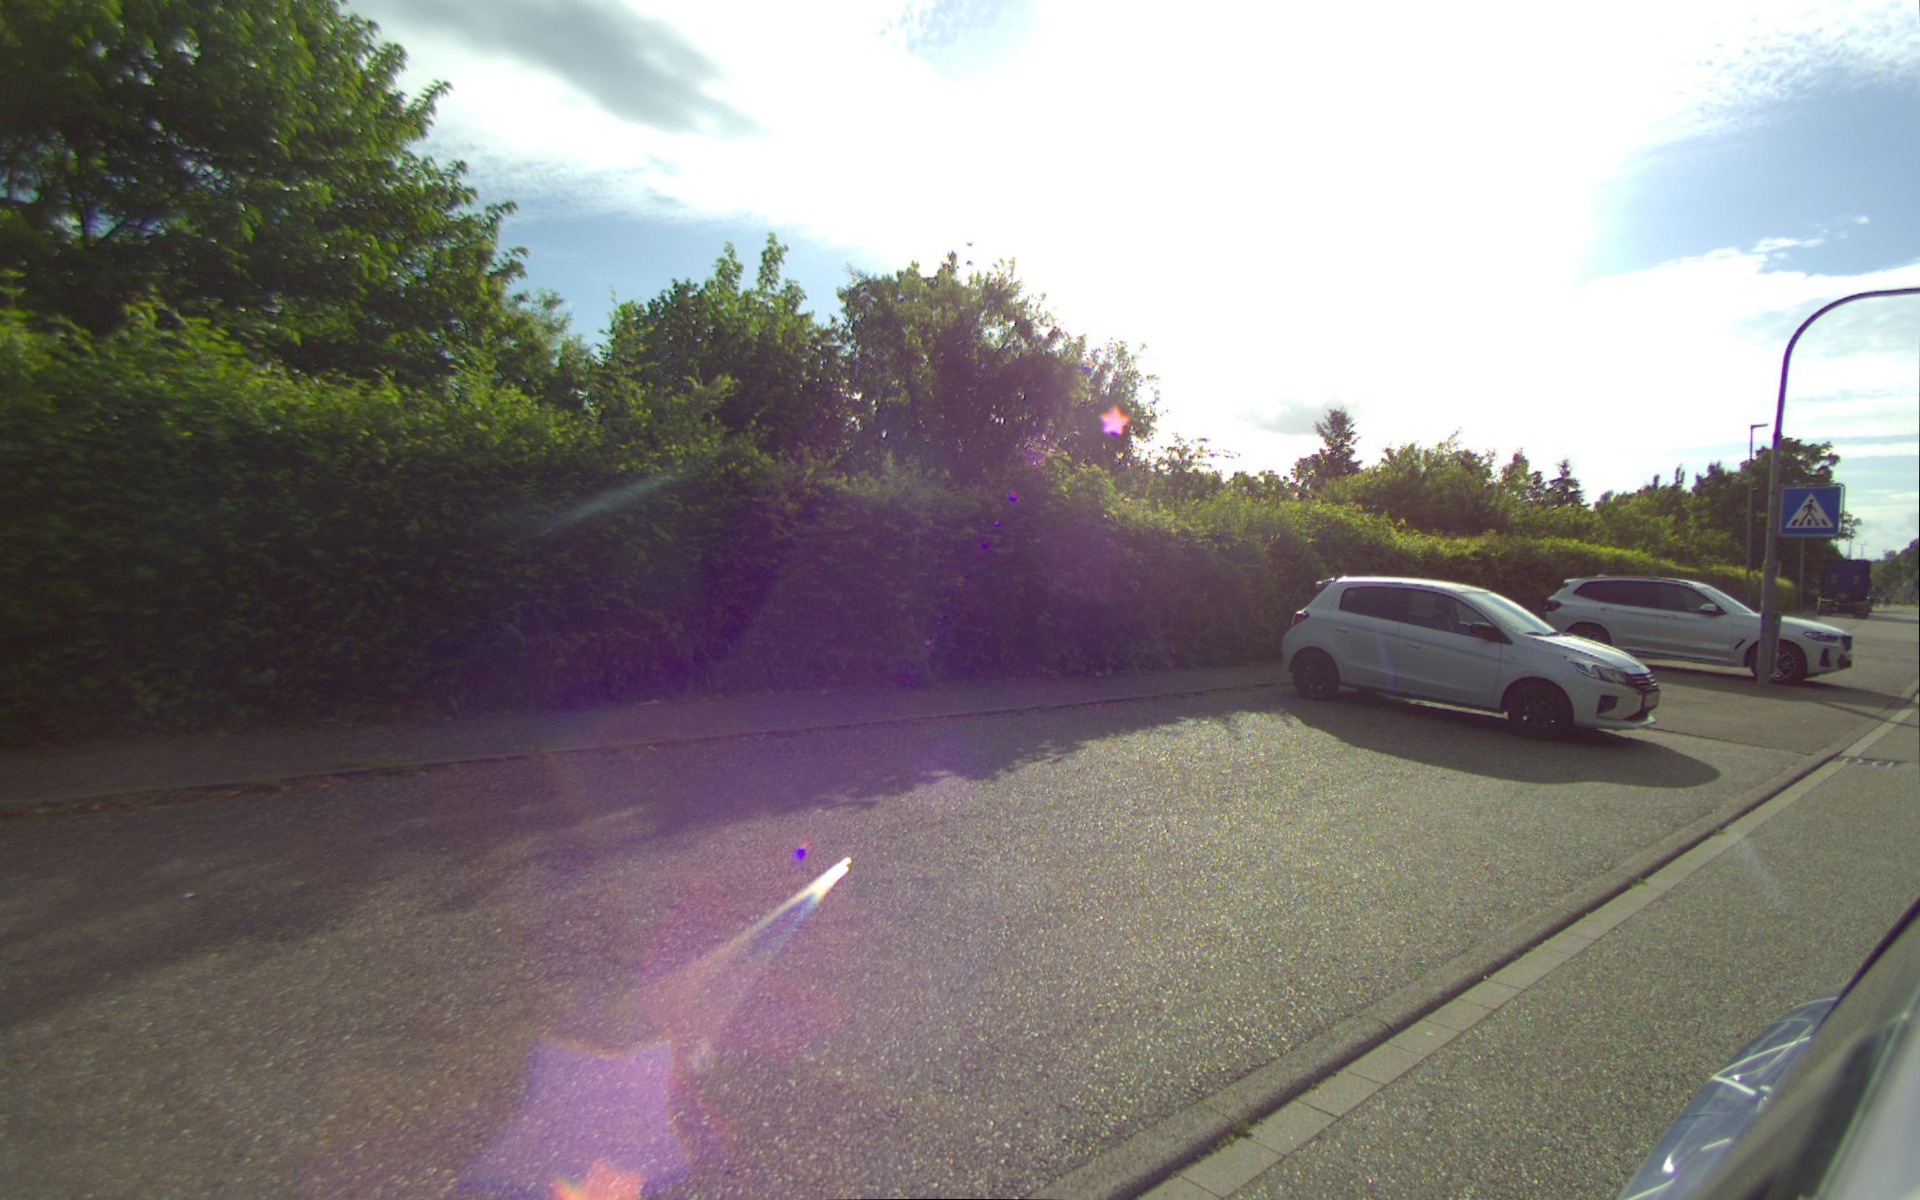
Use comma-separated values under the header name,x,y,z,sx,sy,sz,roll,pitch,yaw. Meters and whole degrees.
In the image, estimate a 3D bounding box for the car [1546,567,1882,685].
name,x,y,z,sx,sy,sz,roll,pitch,yaw
car,13.564,0.360,18.472,1.732,1.720,4.598,0,3,-41

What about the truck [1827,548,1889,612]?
name,x,y,z,sx,sy,sz,roll,pitch,yaw
truck,60.755,-1.323,68.568,2.594,4.005,6.192,7,4,40

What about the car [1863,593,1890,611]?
name,x,y,z,sx,sy,sz,roll,pitch,yaw
car,92.052,0.192,101.697,1.746,1.589,3.805,6,4,40

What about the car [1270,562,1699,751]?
name,x,y,z,sx,sy,sz,roll,pitch,yaw
car,5.703,0.470,11.387,1.663,1.508,3.867,0,5,-41
